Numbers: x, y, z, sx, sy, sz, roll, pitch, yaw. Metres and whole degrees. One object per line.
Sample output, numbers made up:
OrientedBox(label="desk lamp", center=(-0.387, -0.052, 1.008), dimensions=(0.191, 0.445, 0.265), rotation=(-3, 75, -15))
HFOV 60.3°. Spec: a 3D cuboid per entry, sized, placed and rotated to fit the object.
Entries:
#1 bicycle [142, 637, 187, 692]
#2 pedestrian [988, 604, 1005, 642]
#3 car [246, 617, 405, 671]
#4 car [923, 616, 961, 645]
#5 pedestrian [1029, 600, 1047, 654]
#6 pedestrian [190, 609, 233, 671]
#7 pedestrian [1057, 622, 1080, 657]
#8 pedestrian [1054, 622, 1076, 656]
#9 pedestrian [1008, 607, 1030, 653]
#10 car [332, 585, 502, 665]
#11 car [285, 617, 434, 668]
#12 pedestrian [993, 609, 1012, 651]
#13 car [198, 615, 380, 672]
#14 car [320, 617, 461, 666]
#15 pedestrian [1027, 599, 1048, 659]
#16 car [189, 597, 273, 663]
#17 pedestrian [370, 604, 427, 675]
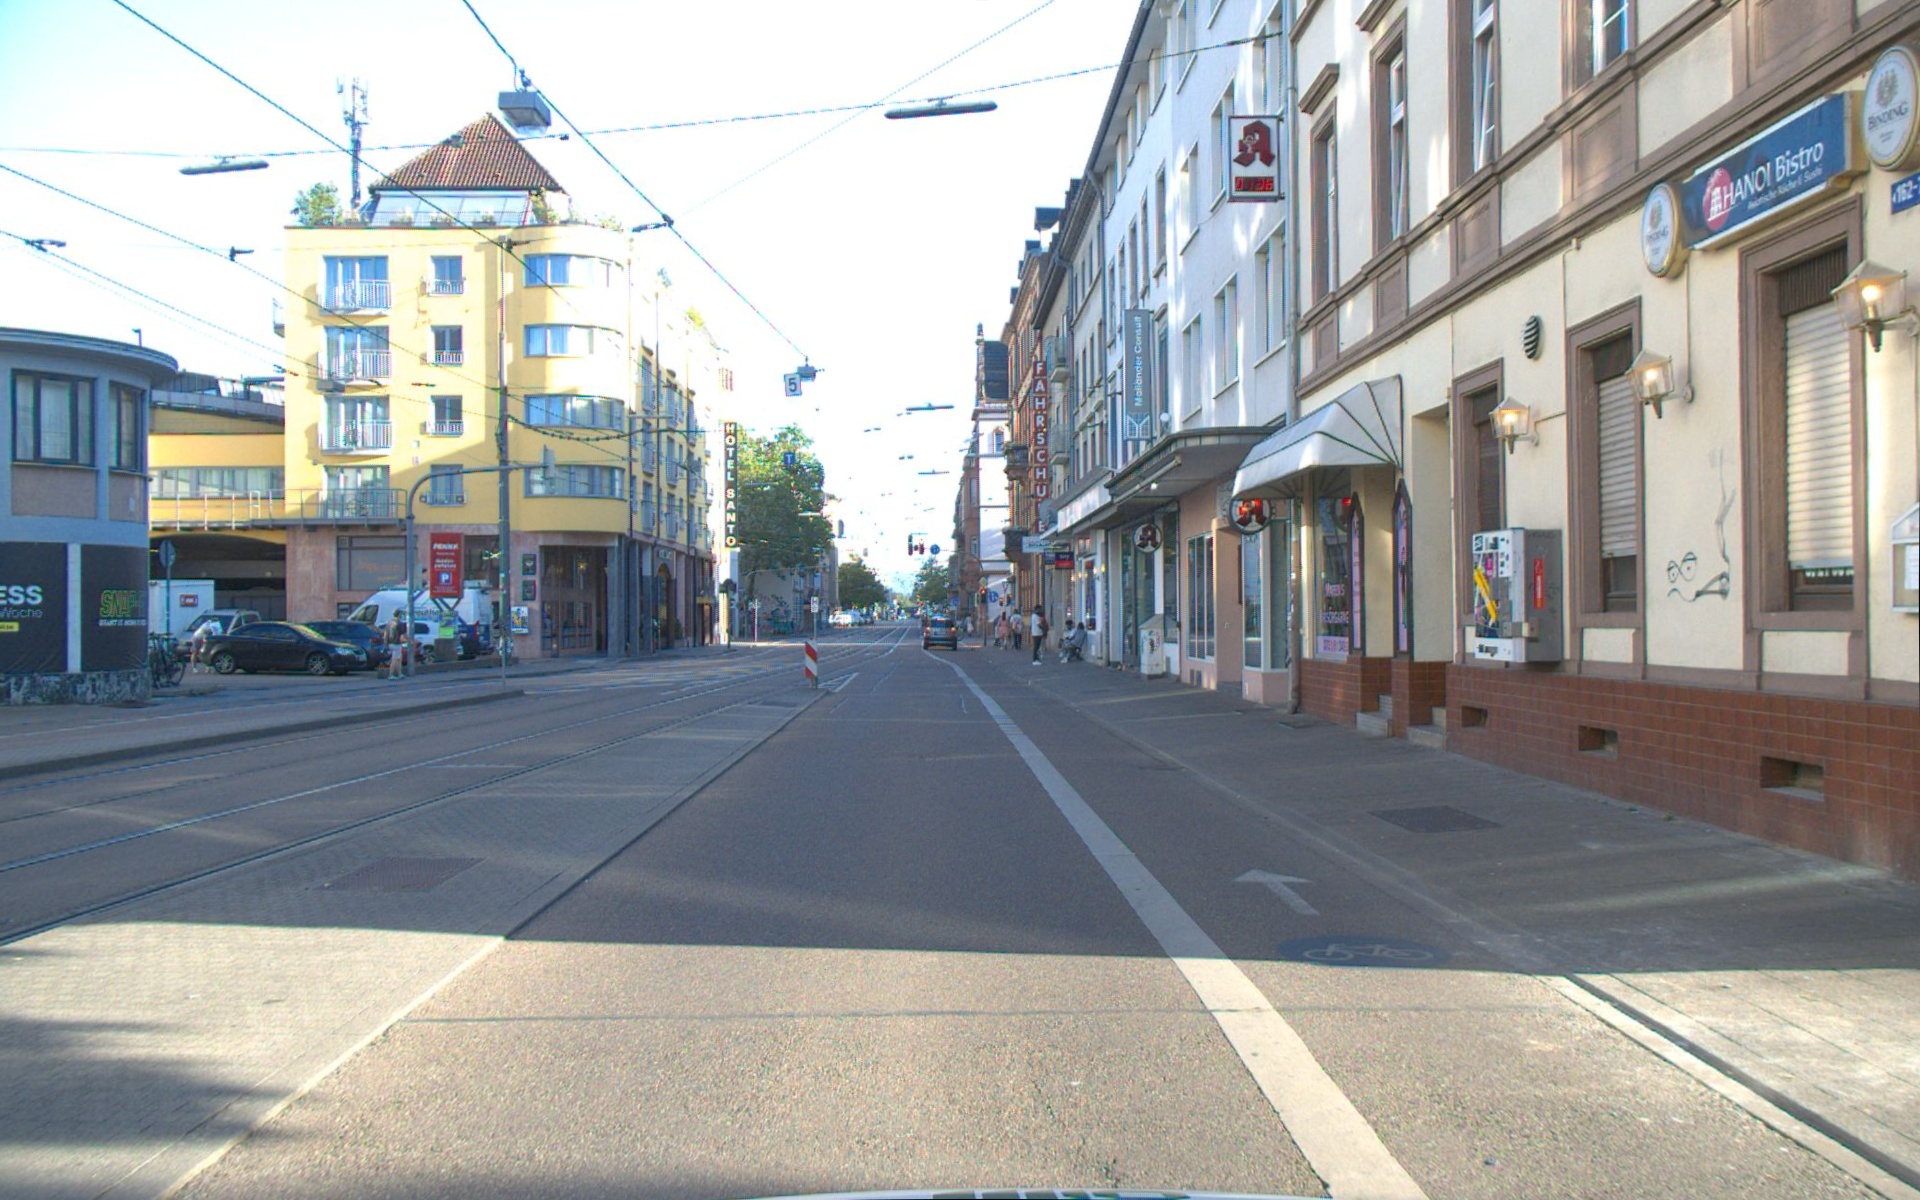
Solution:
OrientedBox(label="bicycle", center=(-16.831, 1.351, 35.024), dimensions=(0.490, 1.127, 1.794), rotation=(0, -1, -13))
OrientedBox(label="pedestrian", center=(1.893, 1.175, 85.782), dimensions=(0.826, 1.951, 0.846), rotation=(-1, -1, -3))
OrientedBox(label="car", center=(-18.399, 1.264, 48.068), dimensions=(3.905, 1.537, 1.800), rotation=(0, -1, -1))
OrientedBox(label="car", center=(-0.979, 1.595, 86.596), dimensions=(1.953, 1.475, 3.998), rotation=(0, -1, -2))
OrientedBox(label="pedestrian", center=(2.678, 0.936, 56.584), dimensions=(0.548, 1.828, 0.651), rotation=(-1, -1, 5))
OrientedBox(label="pedestrian", center=(-20.717, 1.104, 45.766), dimensions=(0.884, 1.681, 0.751), rotation=(1, -1, -44))
OrientedBox(label="pedestrian", center=(3.340, 1.211, 51.052), dimensions=(0.676, 1.062, 0.680), rotation=(-1, -1, 3))
OrientedBox(label="pedestrian", center=(3.292, 1.228, 51.939), dimensions=(0.676, 1.062, 0.680), rotation=(-1, -1, 3))
OrientedBox(label="pedestrian", center=(2.557, 1.302, 71.919), dimensions=(0.831, 1.951, 1.034), rotation=(-1, -1, -3))
OrientedBox(label="car", center=(-18.264, 0.837, 55.770), dimensions=(5.001, 2.621, 2.128), rotation=(0, -1, -1))
OrientedBox(label="car", center=(-18.352, 1.293, 50.650), dimensions=(3.905, 1.537, 1.800), rotation=(0, -1, -1))
OrientedBox(label="pedestrian", center=(1.946, 1.379, 76.346), dimensions=(0.826, 1.951, 0.661), rotation=(-1, -1, -3))
OrientedBox(label="car", center=(-18.344, 1.172, 45.363), dimensions=(4.231, 1.537, 1.800), rotation=(0, -1, -1))
OrientedBox(label="car", center=(-18.275, 1.319, 53.183), dimensions=(3.905, 1.537, 1.800), rotation=(0, -1, -1))
OrientedBox(label="pedestrian", center=(2.396, 0.893, 51.271), dimensions=(0.635, 1.828, 0.562), rotation=(-1, -1, 3))
OrientedBox(label="car", center=(-25.696, 1.033, 58.417), dimensions=(1.761, 2.247, 3.991), rotation=(0, -1, -10))
OrientedBox(label="pedestrian", center=(-14.884, 1.041, 43.846), dimensions=(0.889, 1.847, 1.152), rotation=(0, -1, 21))
